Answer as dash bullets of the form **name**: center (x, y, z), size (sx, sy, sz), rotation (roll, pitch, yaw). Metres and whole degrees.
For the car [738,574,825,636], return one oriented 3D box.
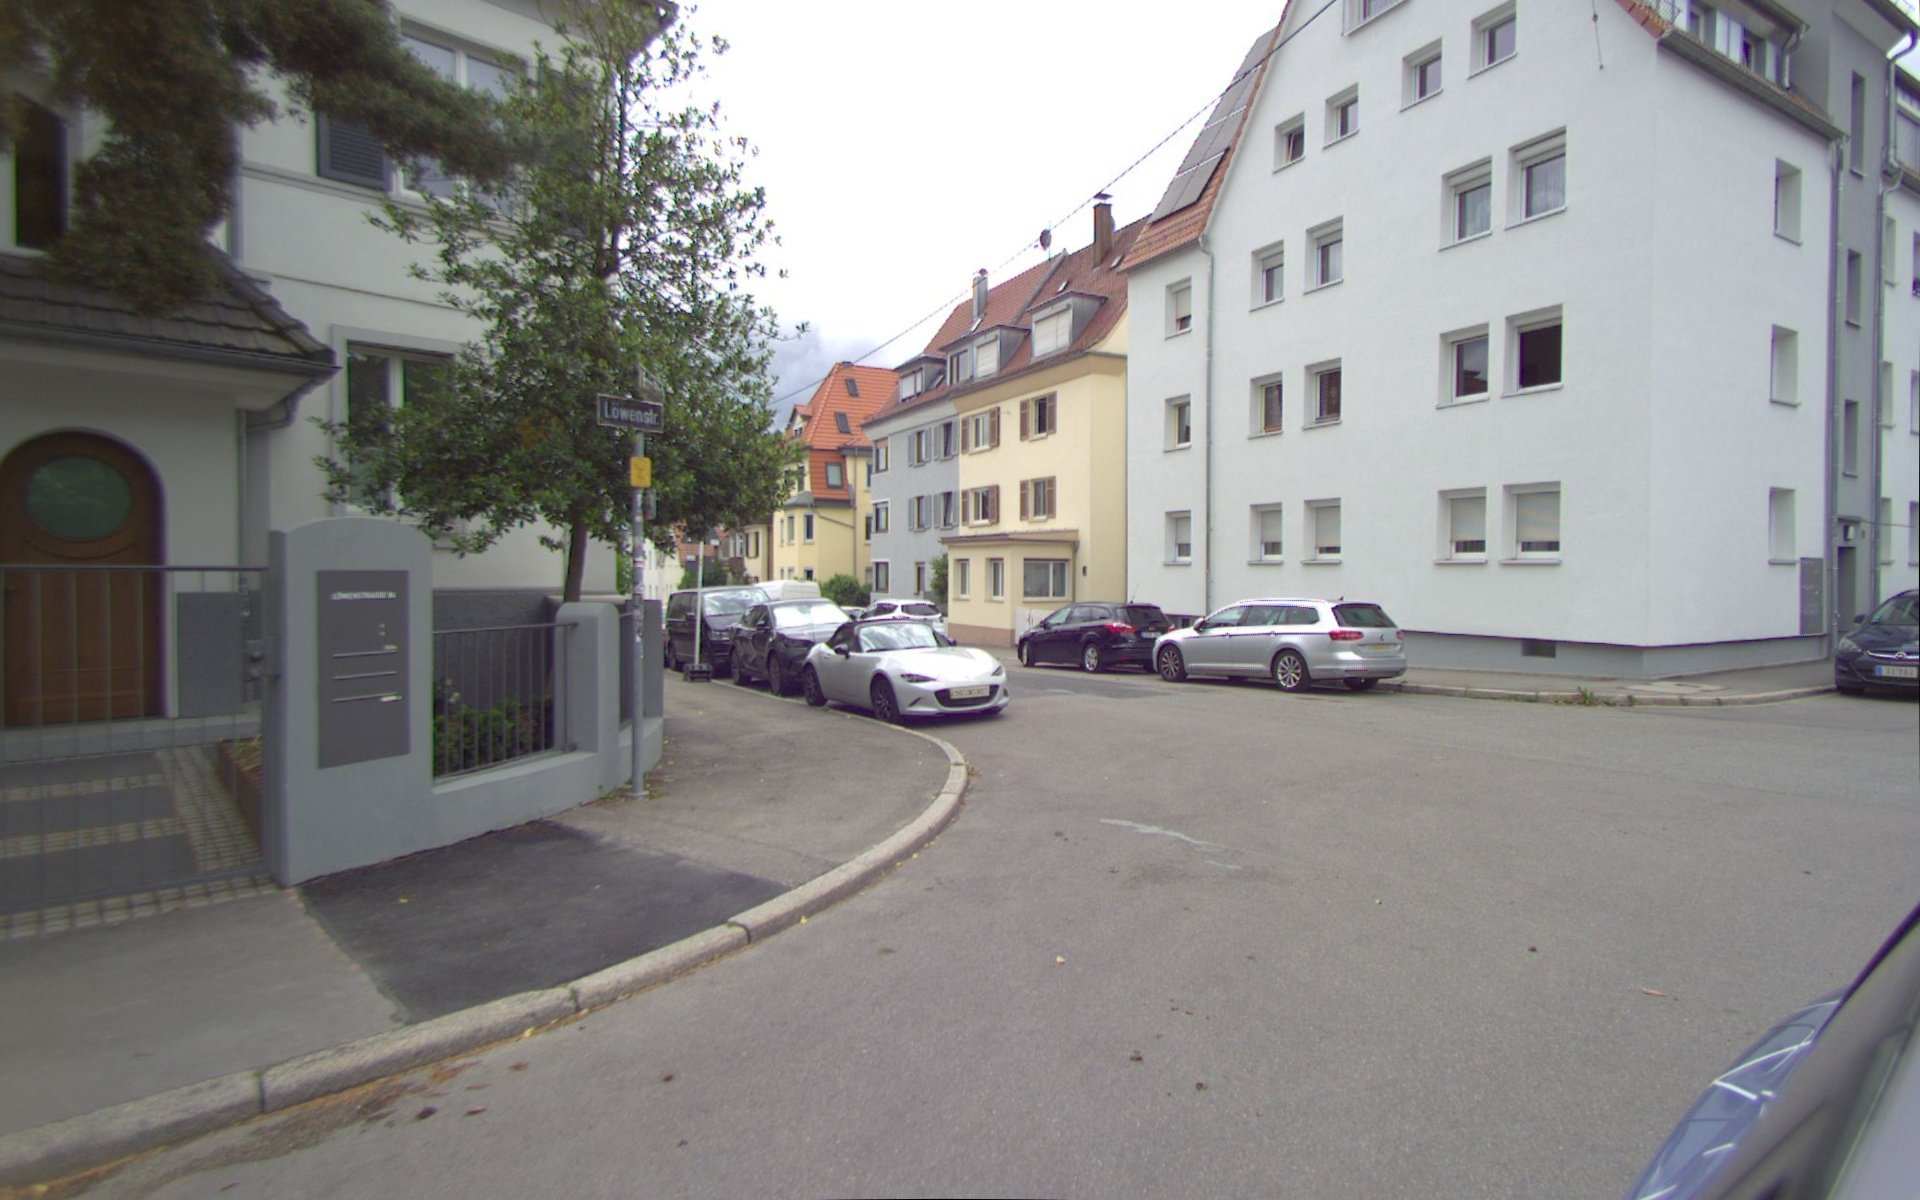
- **car**: center (-7.680, 0.228, 43.060), size (2.071, 2.445, 5.902), rotation (0, 0, -26)

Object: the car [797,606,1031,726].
- **car**: center (-0.736, 0.763, 13.480), size (1.638, 1.277, 3.482), rotation (-3, 1, -31)

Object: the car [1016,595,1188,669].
- **car**: center (2.919, 0.631, 21.709), size (1.702, 1.440, 4.006), rotation (0, 0, -26)

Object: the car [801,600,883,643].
- **car**: center (-4.328, 0.754, 36.694), size (1.702, 1.472, 4.006), rotation (0, 0, -26)

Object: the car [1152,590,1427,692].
- **car**: center (5.303, 0.590, 16.906), size (1.728, 1.468, 4.364), rotation (1, 0, -29)

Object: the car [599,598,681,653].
- **car**: center (-10.421, 0.759, 32.789), size (1.734, 1.531, 3.980), rotation (-4, 3, -28)

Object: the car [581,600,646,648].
- **car**: center (-13.059, 0.851, 37.977), size (1.587, 1.579, 3.980), rotation (-4, 2, -28)

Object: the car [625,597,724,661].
- **car**: center (-7.951, 0.734, 27.939), size (1.734, 1.531, 3.979), rotation (-4, 2, -28)

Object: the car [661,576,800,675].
- **car**: center (-5.336, 0.510, 23.073), size (1.854, 1.915, 4.521), rotation (-4, 2, -28)

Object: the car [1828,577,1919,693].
- **car**: center (14.287, 0.439, 14.402), size (4.203, 1.504, 1.825), rotation (-1, 2, -33)

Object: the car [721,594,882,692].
- **car**: center (-3.000, 0.700, 18.341), size (1.637, 1.460, 4.210), rotation (-4, 1, -26)

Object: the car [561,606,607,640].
- **car**: center (-18.394, 1.105, 49.387), size (1.587, 1.580, 3.979), rotation (0, 0, -28)

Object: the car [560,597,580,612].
- **car**: center (-43.980, 0.473, 114.058), size (1.693, 1.607, 3.893), rotation (-1, 0, -27)

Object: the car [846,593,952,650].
- **car**: center (-2.002, 0.648, 31.889), size (1.830, 1.627, 4.005), rotation (-1, 0, -28)
